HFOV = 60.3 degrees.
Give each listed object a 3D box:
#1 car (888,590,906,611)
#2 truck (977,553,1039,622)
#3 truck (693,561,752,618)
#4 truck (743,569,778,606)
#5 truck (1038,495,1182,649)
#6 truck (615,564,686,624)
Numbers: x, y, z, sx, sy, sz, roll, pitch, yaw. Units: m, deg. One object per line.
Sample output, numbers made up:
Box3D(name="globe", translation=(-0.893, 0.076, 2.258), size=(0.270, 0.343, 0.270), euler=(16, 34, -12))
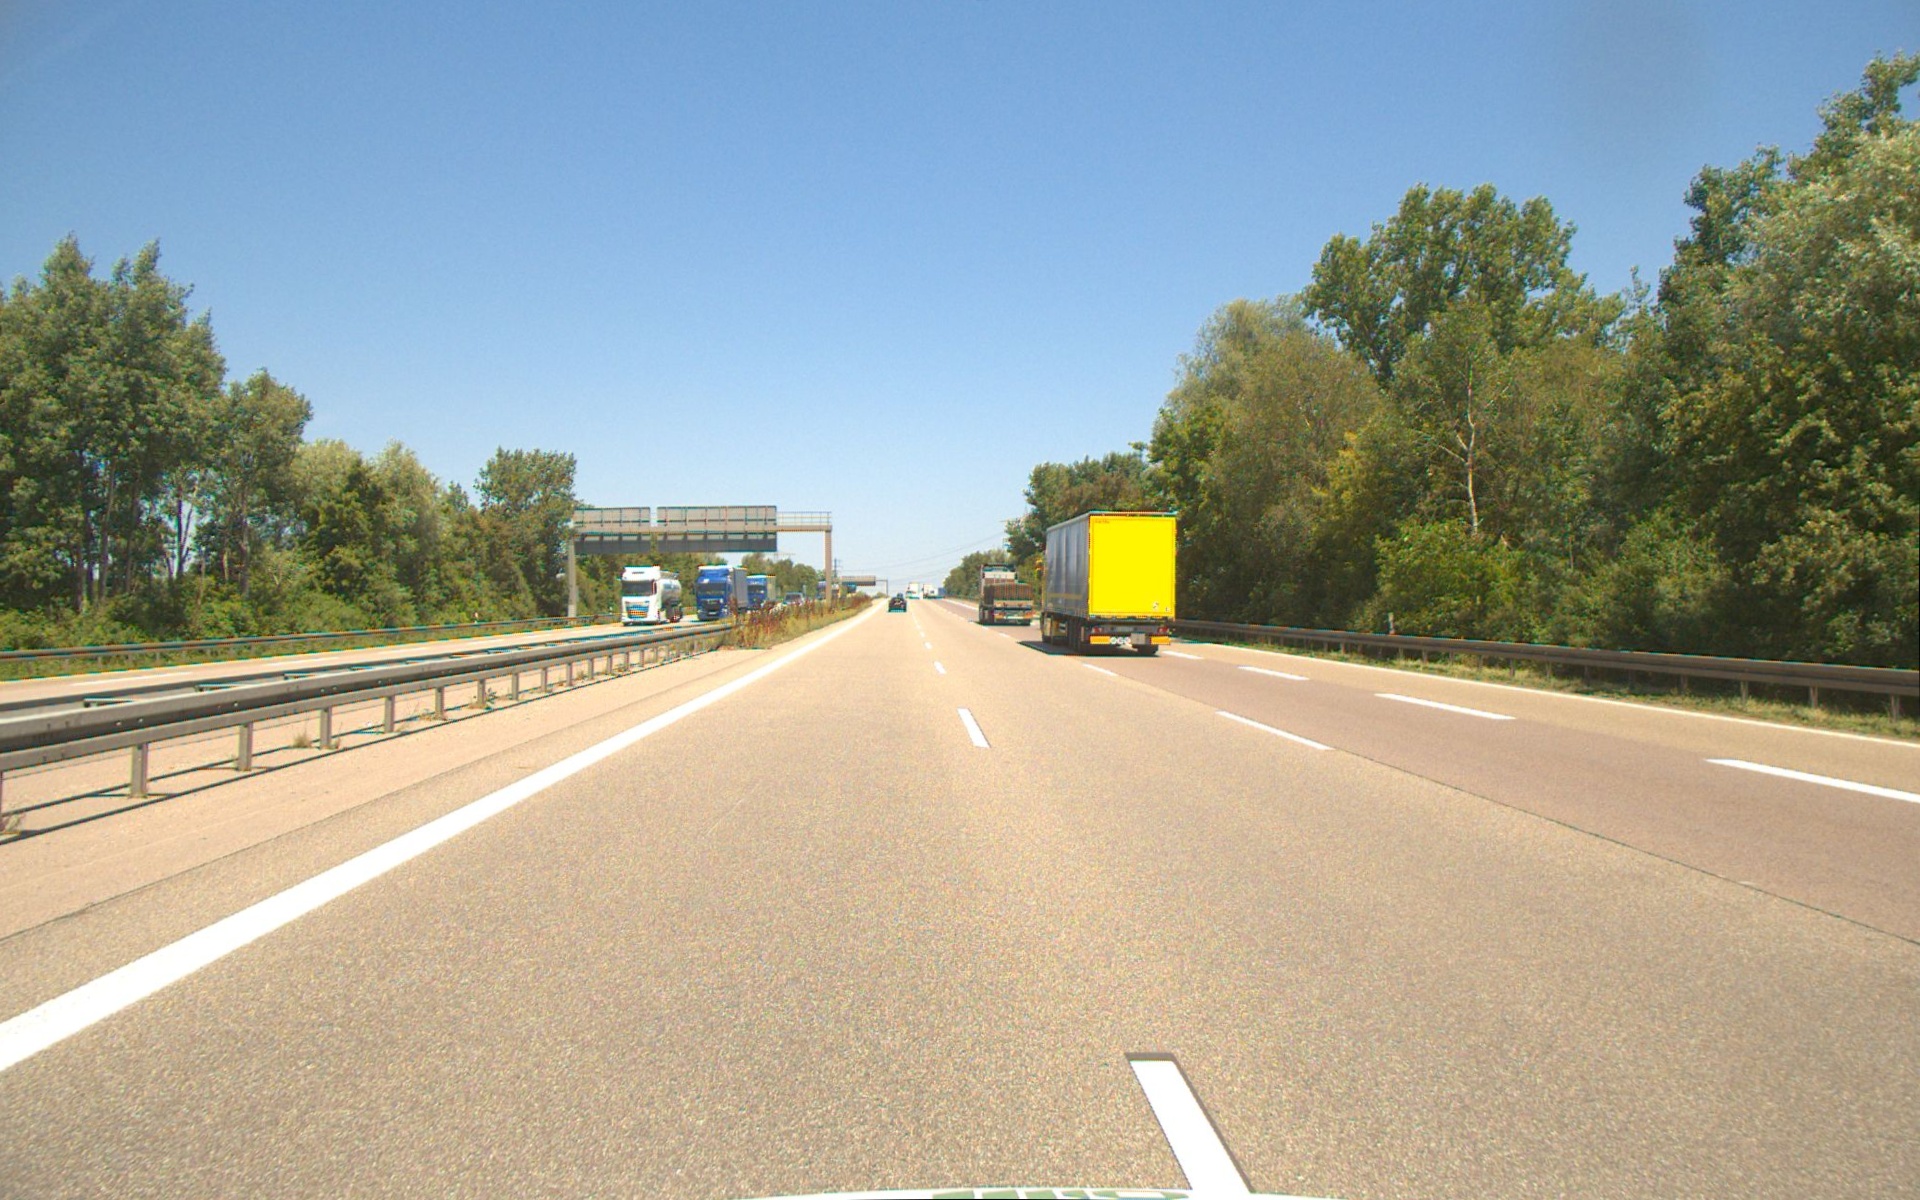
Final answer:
Box3D(name="car", translation=(-6.170, 0.038, 162.377), size=(1.755, 2.049, 3.886), euler=(1, 0, -2))
Box3D(name="truck", translation=(2.872, -0.701, 104.792), size=(2.909, 4.026, 16.607), euler=(1, 0, -2))
Box3D(name="truck", translation=(-19.038, -0.824, 133.713), size=(2.896, 4.320, 17.173), euler=(-1, 0, -2))
Box3D(name="truck", translation=(-25.279, -1.520, 210.676), size=(2.896, 4.418, 18.233), euler=(-1, 0, -2))
Box3D(name="truck", translation=(4.624, -0.770, 55.168), size=(2.787, 4.332, 16.785), euler=(-1, 0, -2))
Box3D(name="truck", translation=(-22.836, -0.454, 122.885), size=(2.896, 4.088, 15.813), euler=(-1, 0, -2))
